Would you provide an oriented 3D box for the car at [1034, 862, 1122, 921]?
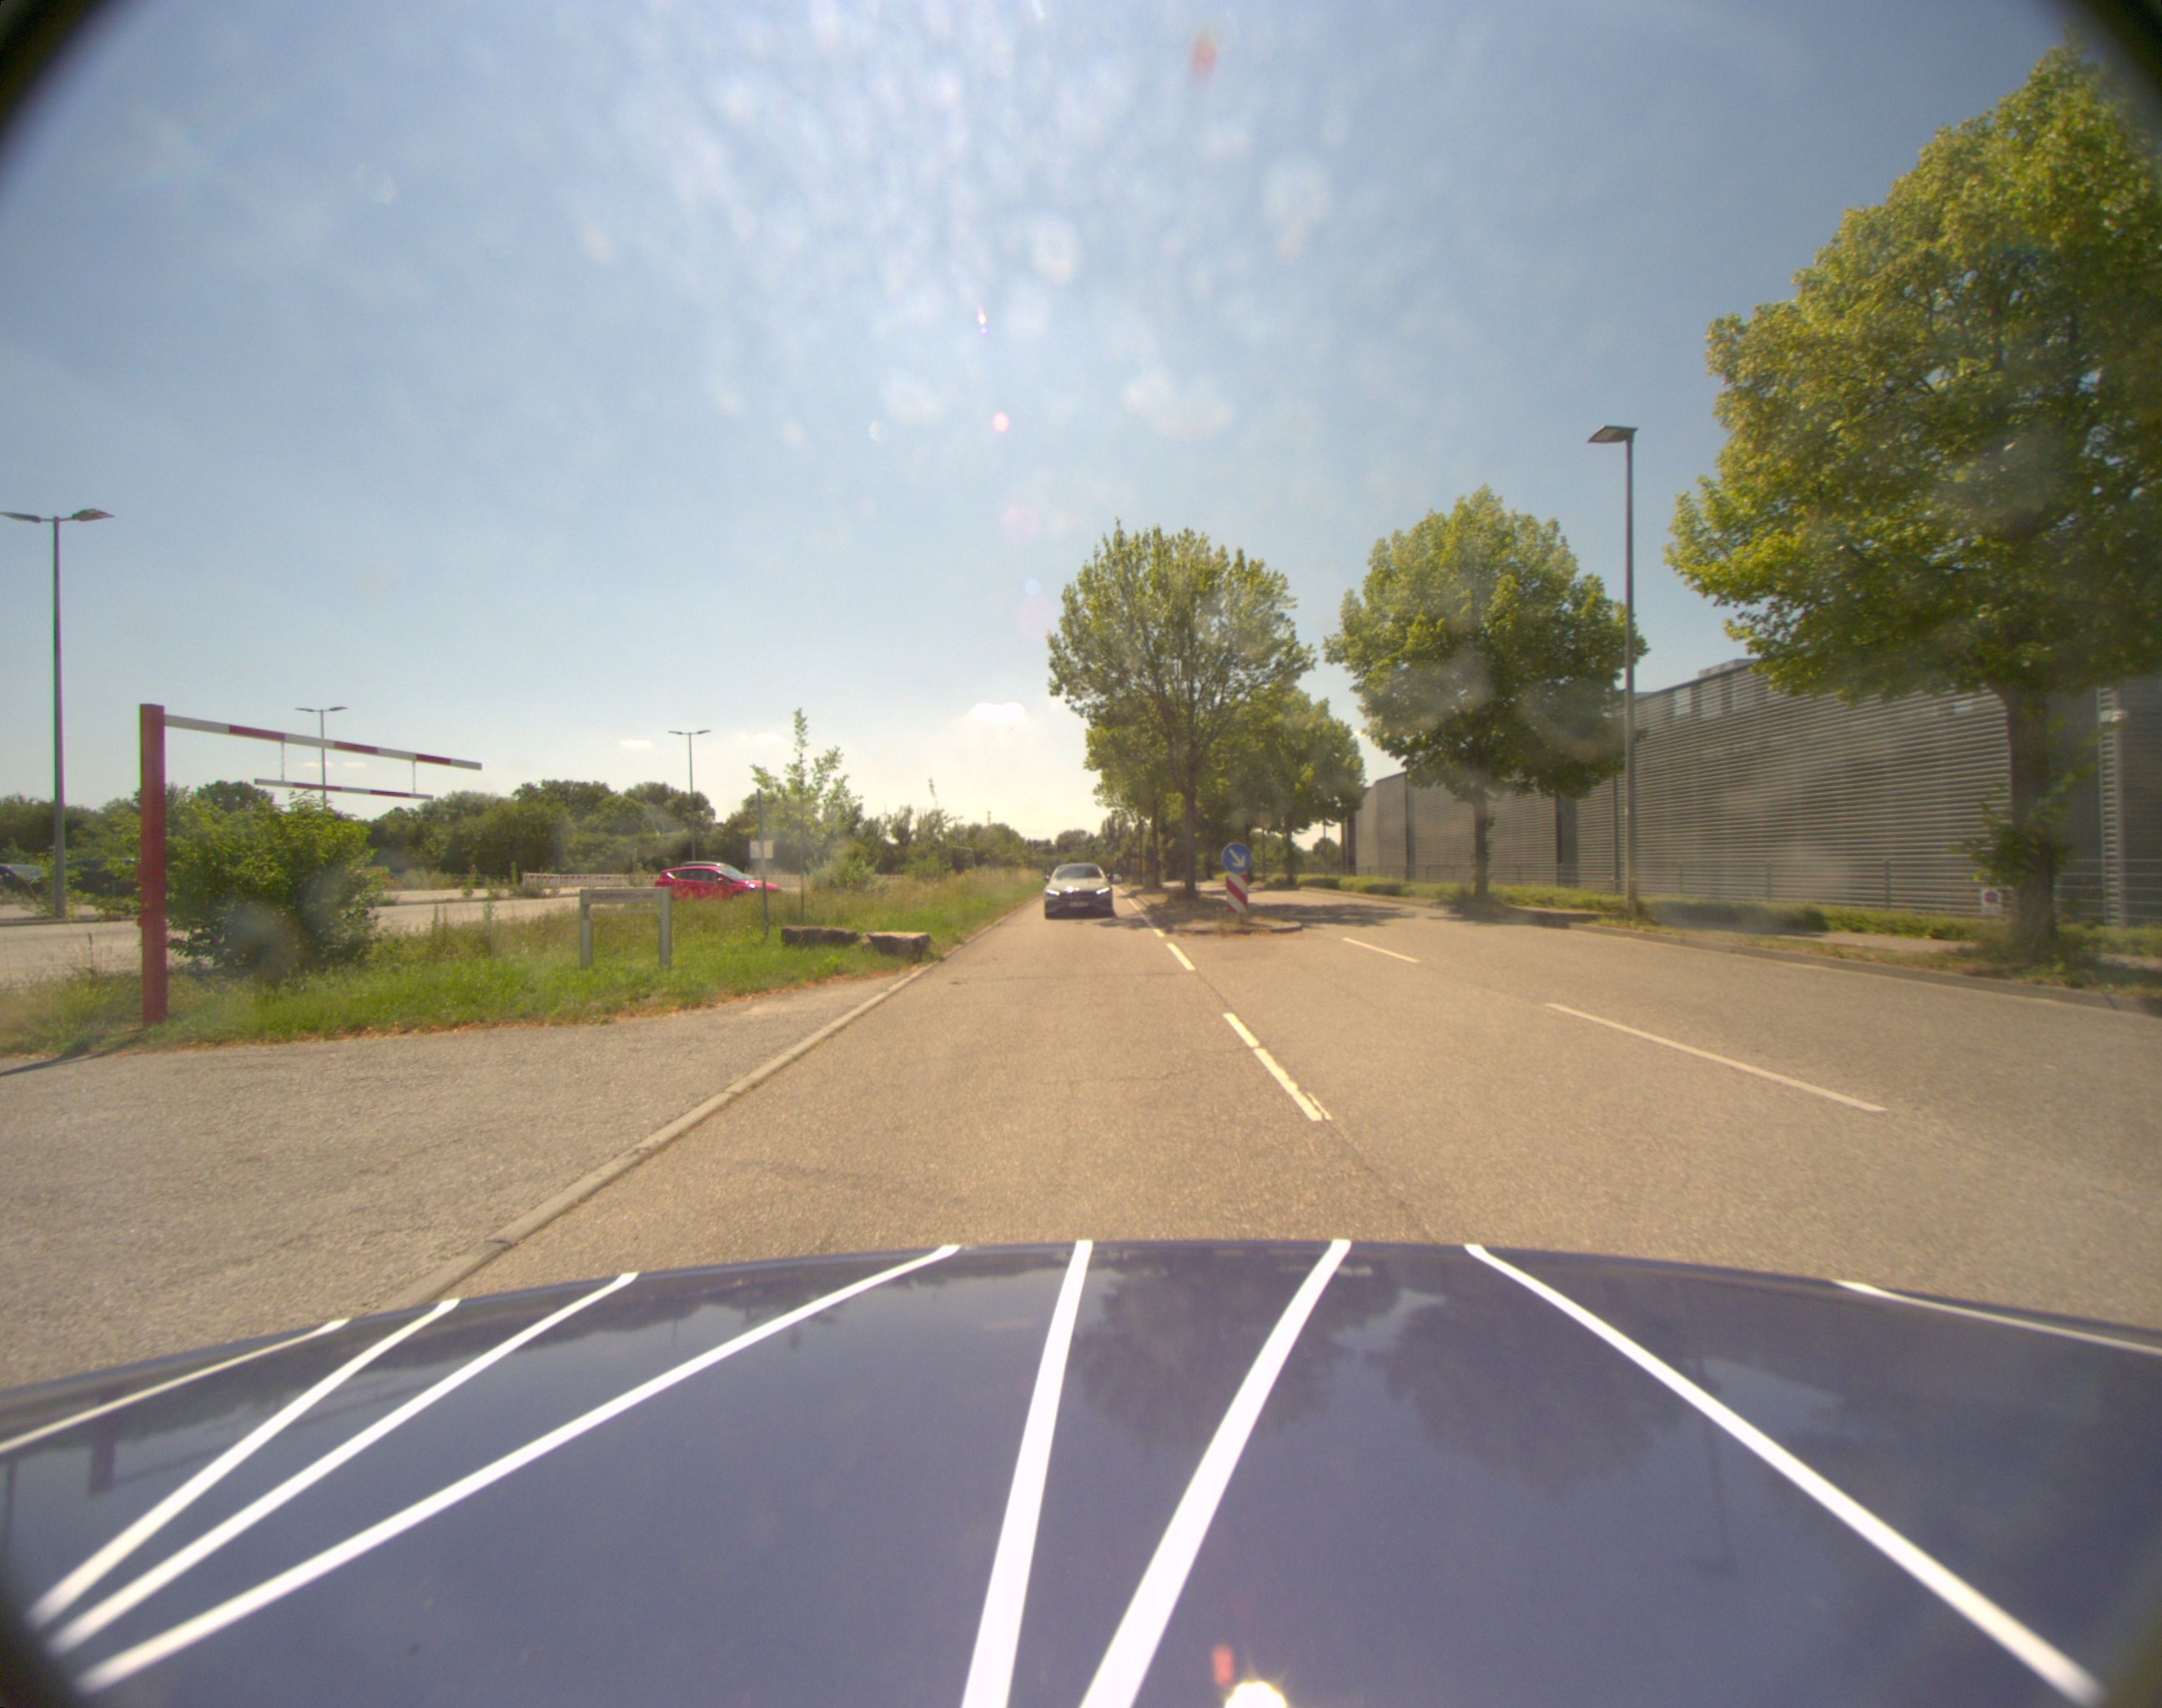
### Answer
[{"bbox_3d":[-0.208,0.992,22.076,1.923,1.433,4.479,-3,0,-8],"label":"car"}]

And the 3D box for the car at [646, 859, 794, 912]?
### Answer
[{"bbox_3d":[-11.903,1.013,25.272,3.997,1.713,1.927,0,0,1],"label":"car"}]

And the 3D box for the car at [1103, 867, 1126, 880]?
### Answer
[{"bbox_3d":[4.757,2.755,108.693,2.001,1.697,3.860,-4,0,-16],"label":"car"}]

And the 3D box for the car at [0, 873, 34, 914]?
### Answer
[{"bbox_3d":[-44.265,1.504,29.435,4.001,1.629,1.999,1,-4,-11],"label":"car"}]

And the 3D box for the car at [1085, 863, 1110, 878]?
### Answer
[{"bbox_3d":[2.316,2.310,108.329,2.001,1.931,4.865,-4,0,-16],"label":"car"}]

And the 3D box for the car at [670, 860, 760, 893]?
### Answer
[{"bbox_3d":[-22.345,1.388,46.517,4.474,1.903,1.940,1,-2,0],"label":"car"}]

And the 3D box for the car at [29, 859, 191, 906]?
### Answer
[{"bbox_3d":[-38.263,1.115,30.024,3.997,1.747,1.758,1,-1,-2],"label":"car"}]

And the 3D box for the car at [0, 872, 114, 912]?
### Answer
[{"bbox_3d":[-44.673,1.636,32.291,4.001,1.629,1.999,1,-4,-11],"label":"car"}]
